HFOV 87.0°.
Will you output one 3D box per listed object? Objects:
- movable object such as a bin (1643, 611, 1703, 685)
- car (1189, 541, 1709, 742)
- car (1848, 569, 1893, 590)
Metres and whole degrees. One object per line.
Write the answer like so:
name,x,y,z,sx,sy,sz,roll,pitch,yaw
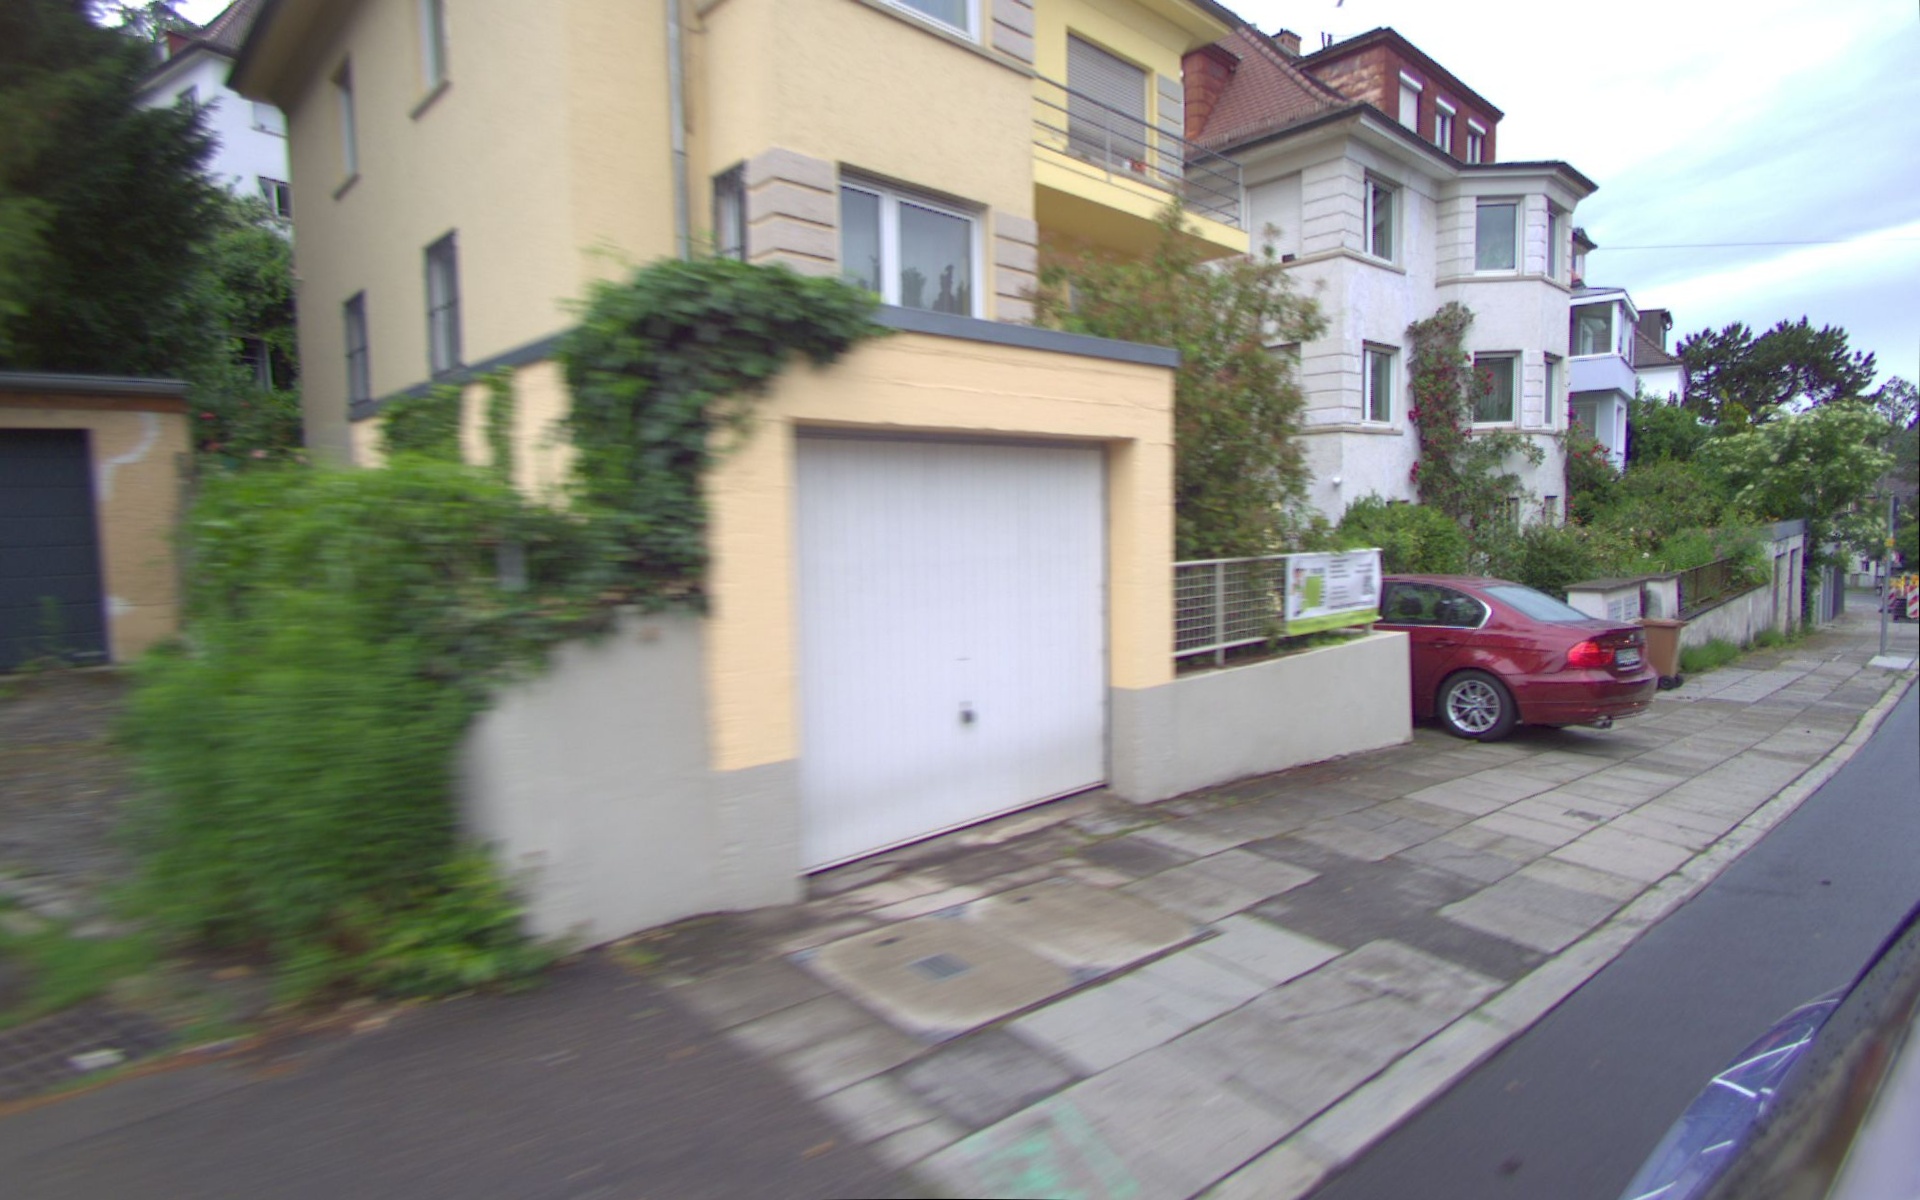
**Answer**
movable object such as a bin,9.402,0.619,13.347,0.569,0.911,0.518,1,1,45
car,4.521,0.226,9.938,1.801,1.423,4.183,0,4,-39
car,83.651,-1.834,93.033,1.979,1.738,3.964,0,-2,25
